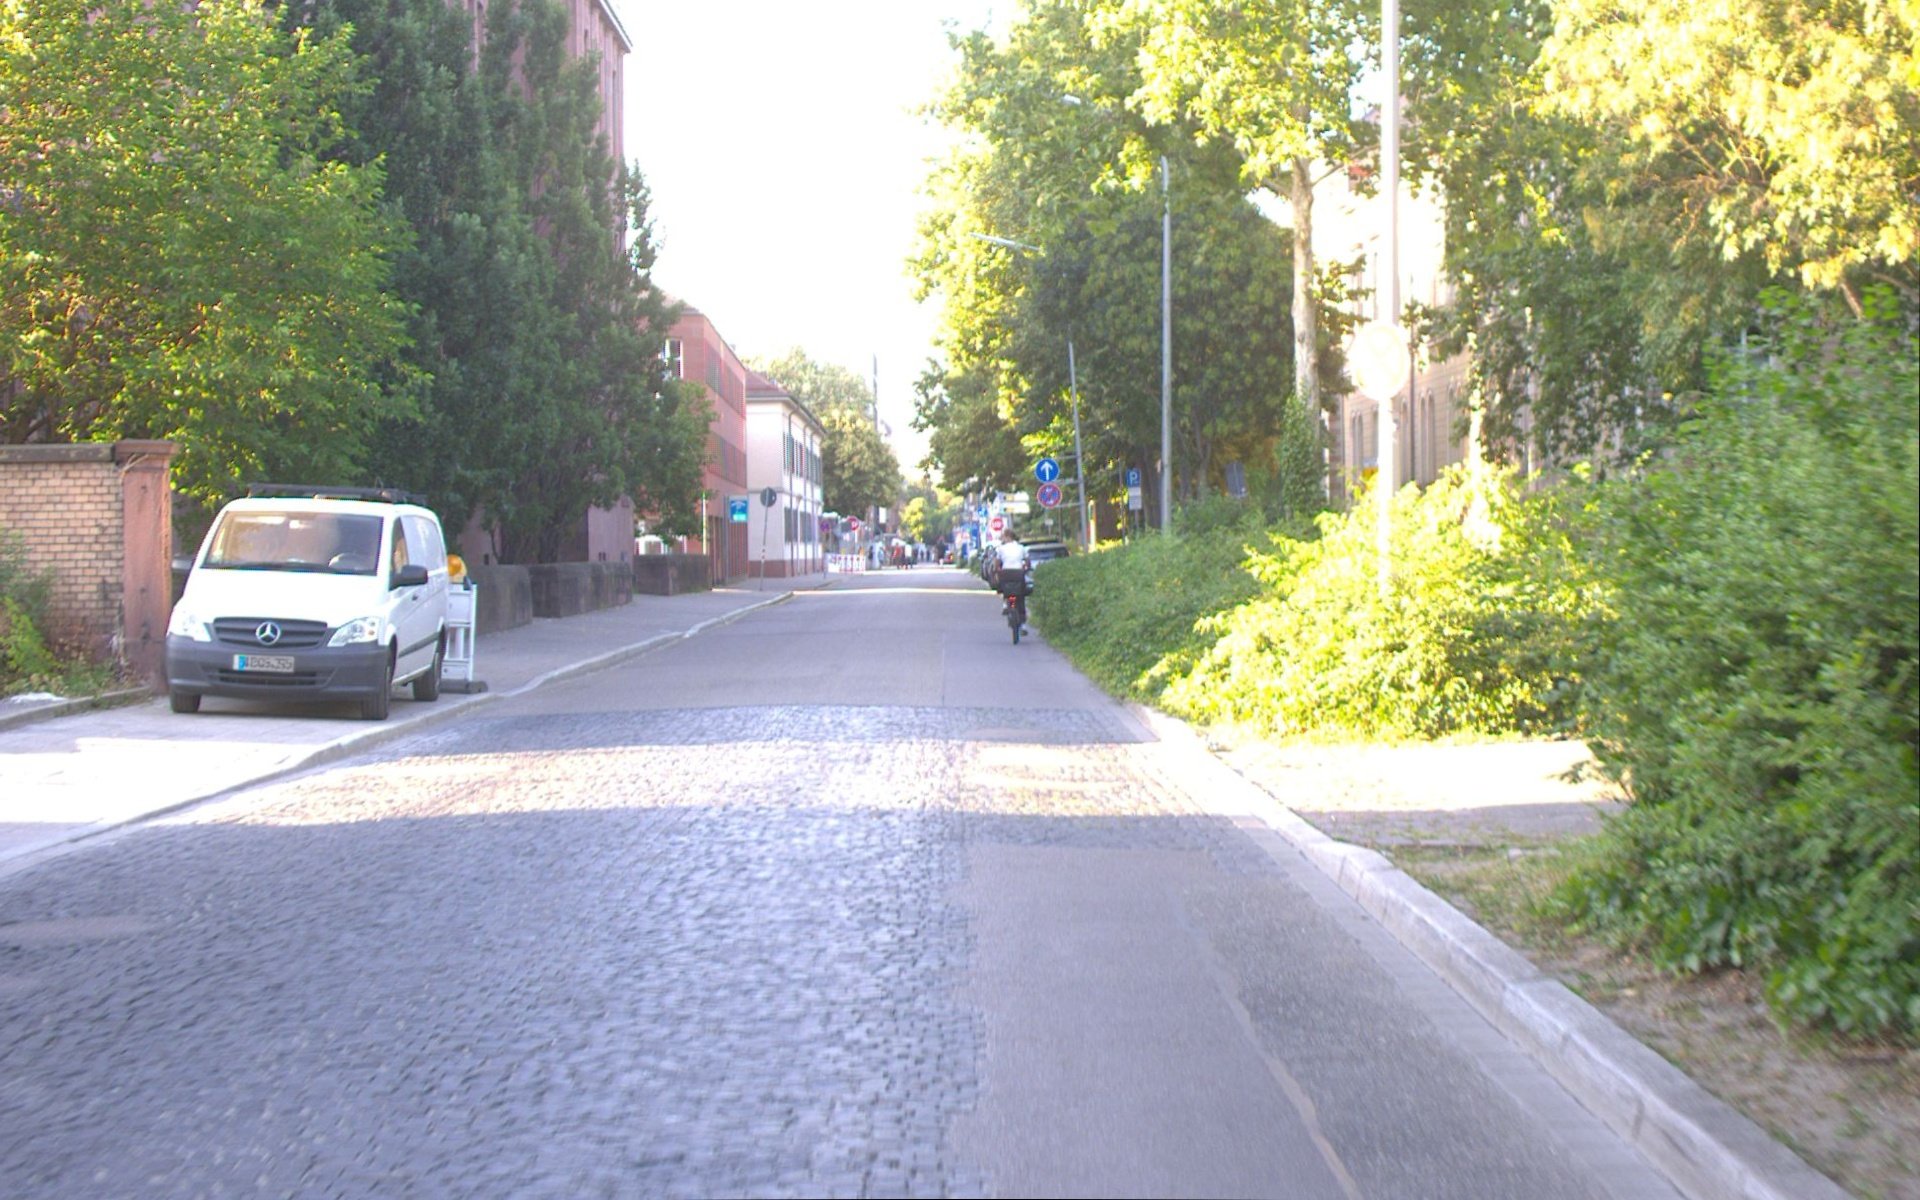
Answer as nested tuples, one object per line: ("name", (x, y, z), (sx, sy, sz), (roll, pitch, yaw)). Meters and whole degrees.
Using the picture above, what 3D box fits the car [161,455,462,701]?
("car", (-5.766, -0.188, 31.176), (1.882, 2.007, 5.226), (1, 0, -2))

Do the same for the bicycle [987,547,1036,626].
("bicycle", (0.788, -0.216, 53.158), (0.638, 1.189, 1.876), (1, 1, -2))

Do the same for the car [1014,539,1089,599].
("car", (2.384, -0.804, 90.347), (1.685, 1.442, 3.672), (-3, 0, -2))

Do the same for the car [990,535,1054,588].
("car", (1.859, -1.176, 104.218), (1.715, 1.532, 4.049), (-1, 1, -2))

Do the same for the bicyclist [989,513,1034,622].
("bicyclist", (0.792, -0.512, 53.107), (0.639, 1.661, 0.843), (1, 1, -2))
